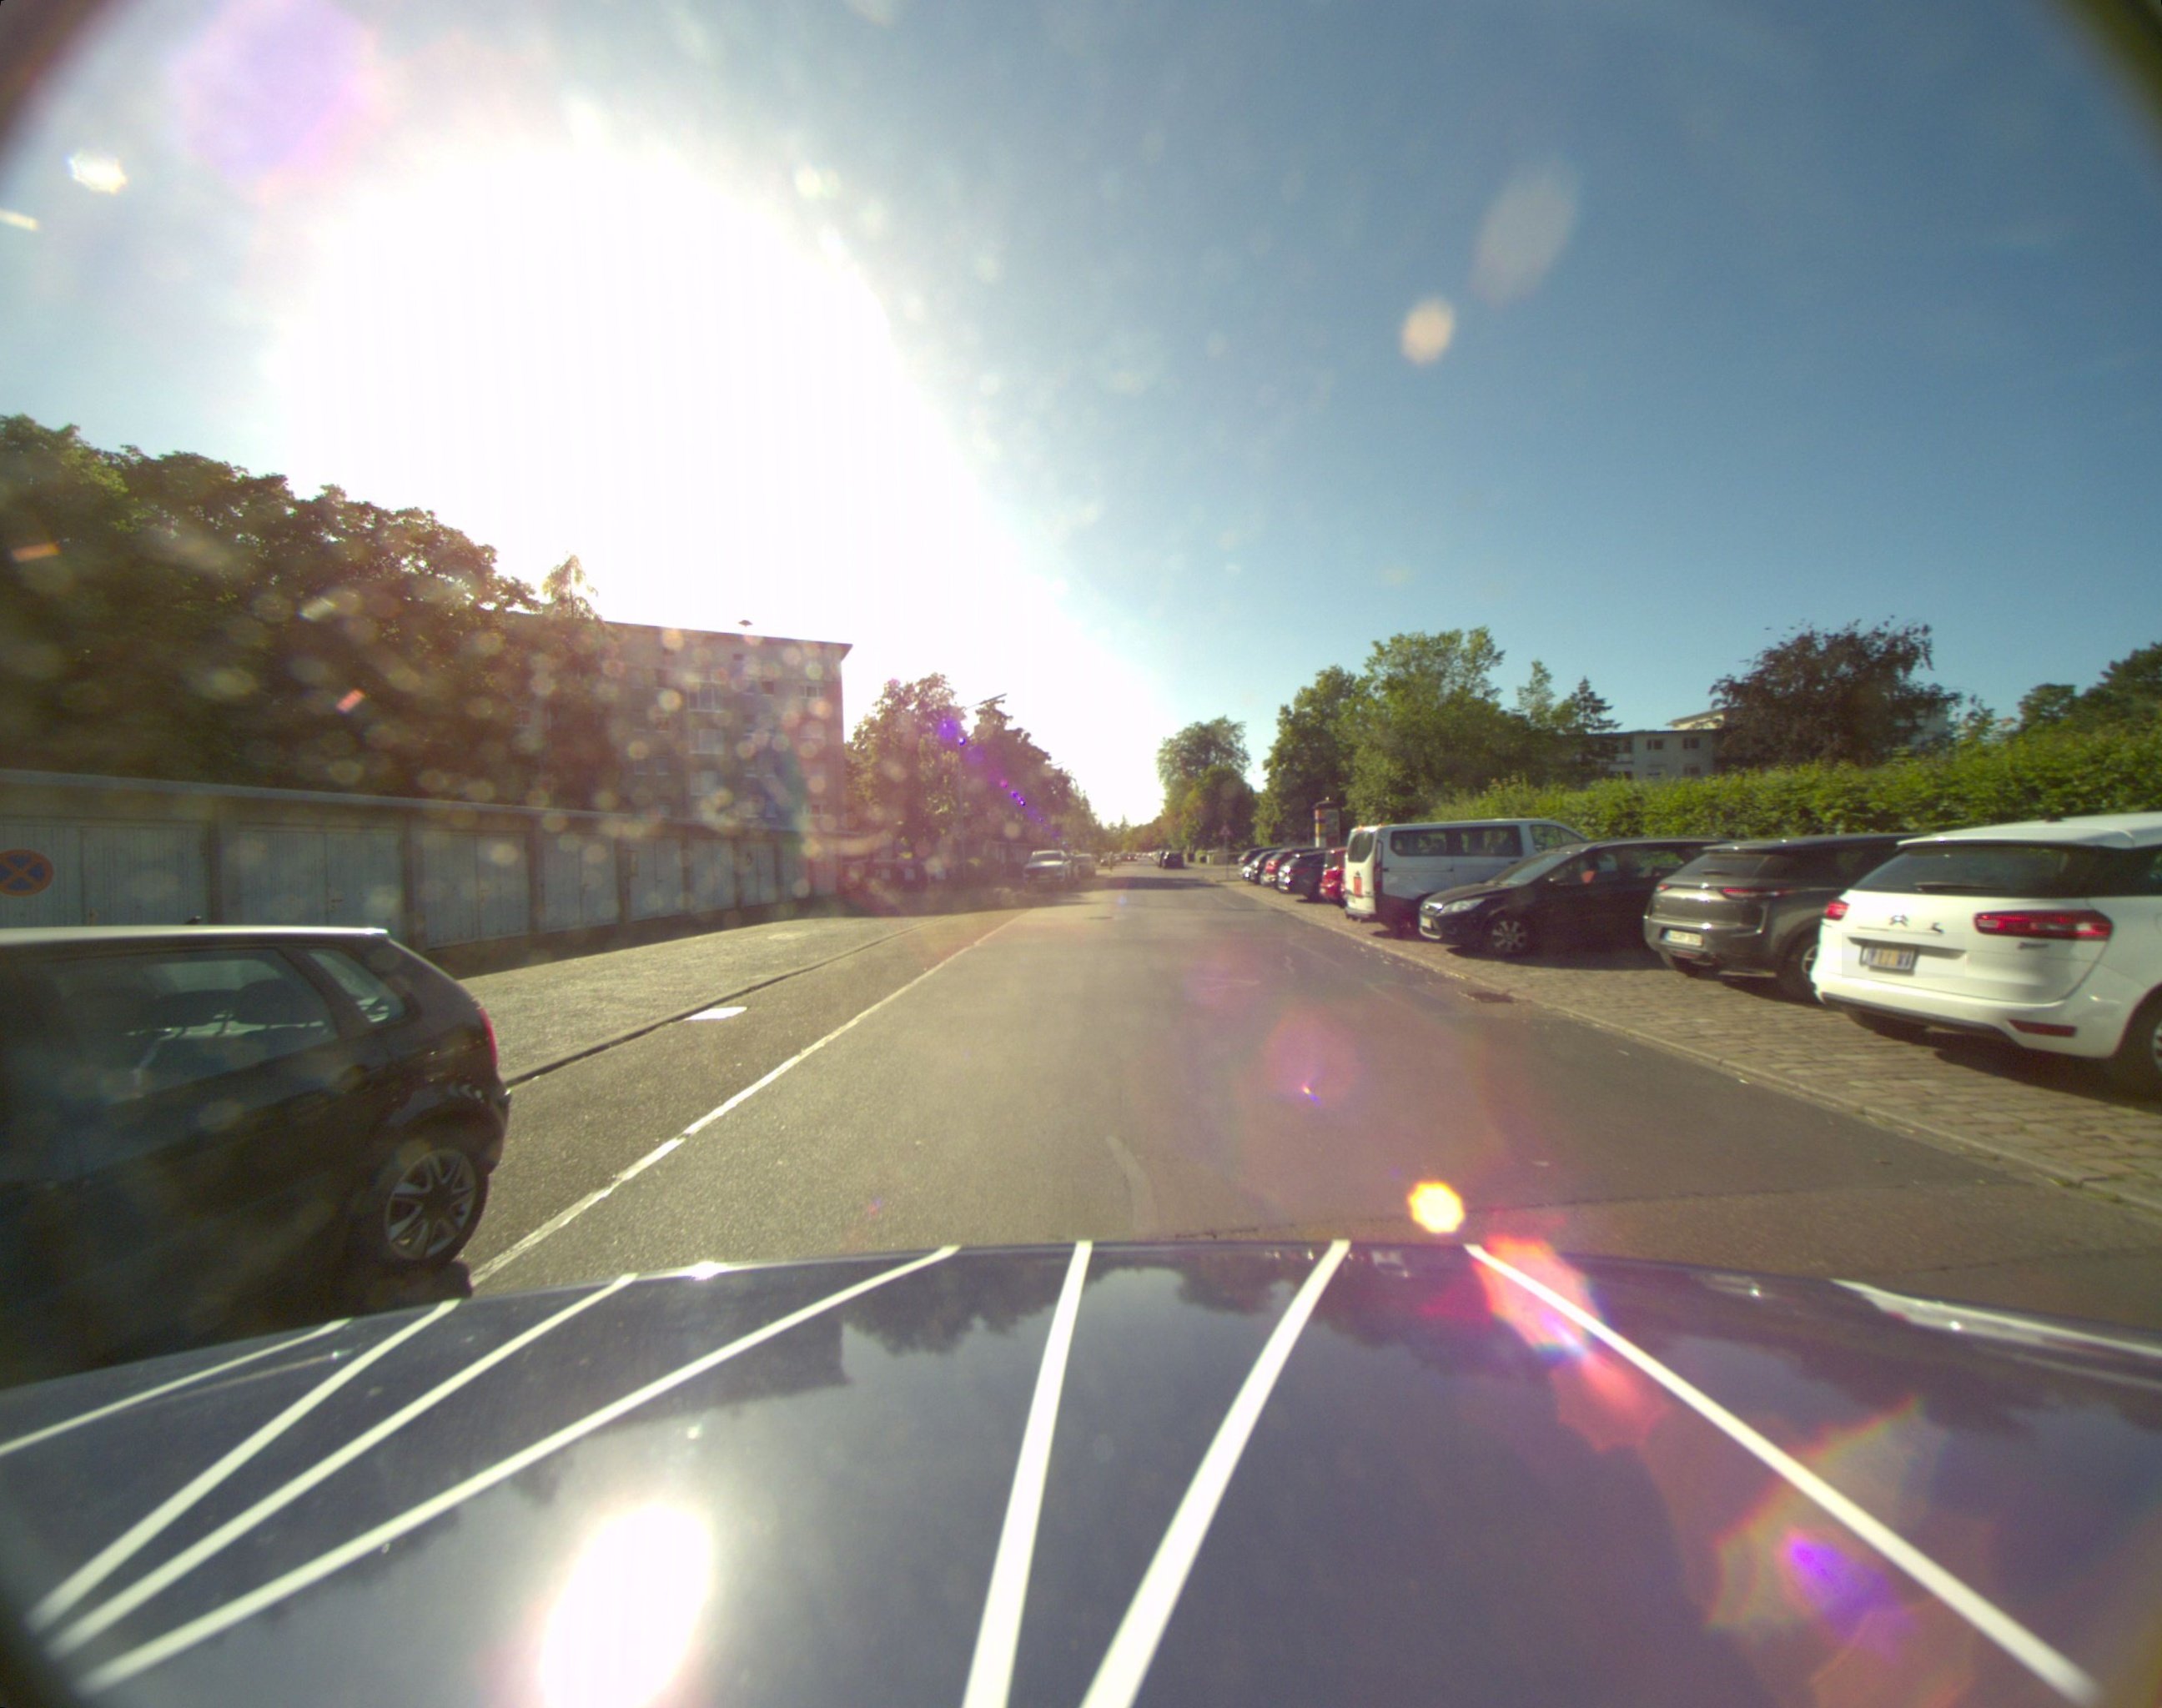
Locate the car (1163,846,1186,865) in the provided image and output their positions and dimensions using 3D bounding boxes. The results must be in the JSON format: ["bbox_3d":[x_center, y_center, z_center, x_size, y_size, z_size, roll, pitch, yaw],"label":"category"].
[{"bbox_3d":[8.459,0.124,69.057,1.784,1.564,4.425,-2,0,4],"label":"car"}]

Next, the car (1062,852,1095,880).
[{"bbox_3d":[-0.100,0.753,50.287,1.808,1.584,4.024,-4,1,4],"label":"car"}]

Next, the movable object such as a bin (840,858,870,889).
[{"bbox_3d":[-11.003,0.950,37.023,1.078,1.409,0.833,-2,2,10],"label":"movable object such as a bin"}]

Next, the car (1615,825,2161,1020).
[{"bbox_3d":[7.921,0.590,7.576,3.776,1.478,1.884,-4,1,4],"label":"car"}]

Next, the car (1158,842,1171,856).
[{"bbox_3d":[11.972,-0.670,108.863,1.732,1.941,3.813,0,1,4],"label":"car"}]

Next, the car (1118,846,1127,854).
[{"bbox_3d":[8.327,-0.828,153.489,1.732,1.586,3.813,-3,0,4],"label":"car"}]

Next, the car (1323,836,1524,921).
[{"bbox_3d":[7.505,0.519,16.962,3.610,1.558,1.852,-4,0,4],"label":"car"}]

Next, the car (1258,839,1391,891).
[{"bbox_3d":[8.361,0.363,26.348,3.996,1.470,1.791,-4,0,4],"label":"car"}]

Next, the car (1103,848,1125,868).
[{"bbox_3d":[2.931,0.317,66.719,1.732,1.586,3.813,-3,0,4],"label":"car"}]

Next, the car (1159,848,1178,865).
[{"bbox_3d":[9.068,0.248,79.196,1.817,1.672,3.649,0,1,4],"label":"car"}]

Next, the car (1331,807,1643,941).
[{"bbox_3d":[7.125,0.325,13.746,4.489,1.966,2.000,-4,1,3],"label":"car"}]

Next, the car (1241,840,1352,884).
[{"bbox_3d":[8.988,0.302,31.940,4.102,1.504,1.812,-4,1,2],"label":"car"}]

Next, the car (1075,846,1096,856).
[{"bbox_3d":[0.721,-0.459,132.171,3.503,1.499,1.602,-4,1,-1],"label":"car"}]

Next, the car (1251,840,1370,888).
[{"bbox_3d":[8.835,0.360,29.539,4.028,1.504,1.906,-4,1,2],"label":"car"}]

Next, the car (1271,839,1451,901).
[{"bbox_3d":[8.081,0.455,22.267,4.554,1.470,1.748,-4,0,4],"label":"car"}]

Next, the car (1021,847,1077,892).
[{"bbox_3d":[-1.394,0.656,35.132,1.911,1.829,5.275,-4,0,3],"label":"car"}]

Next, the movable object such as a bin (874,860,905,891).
[{"bbox_3d":[-8.860,0.985,35.173,1.077,1.340,0.865,-2,2,16],"label":"movable object such as a bin"}]

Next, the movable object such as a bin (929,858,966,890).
[{"bbox_3d":[-5.974,0.879,34.089,1.252,1.340,1.054,-2,2,16],"label":"movable object such as a bin"}]

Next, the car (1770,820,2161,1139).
[{"bbox_3d":[7.383,0.605,4.919,3.996,1.574,1.884,-4,1,4],"label":"car"}]

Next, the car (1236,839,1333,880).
[{"bbox_3d":[9.843,0.241,37.038,4.197,1.647,1.846,-4,1,2],"label":"car"}]

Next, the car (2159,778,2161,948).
[{"bbox_3d":[6.984,0.488,2.237,4.801,1.910,2.081,-4,2,-2],"label":"car"}]

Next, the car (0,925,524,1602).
[{"bbox_3d":[-3.365,1.072,1.447,1.651,1.395,3.881,-1,1,1],"label":"car"}]

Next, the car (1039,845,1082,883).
[{"bbox_3d":[-1.045,0.519,41.171,1.837,1.780,4.556,-4,0,3],"label":"car"}]

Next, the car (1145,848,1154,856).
[{"bbox_3d":[13.206,-0.400,147.170,1.632,1.619,3.557,0,1,4],"label":"car"}]

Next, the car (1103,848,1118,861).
[{"bbox_3d":[3.722,0.025,96.342,1.732,1.462,3.813,-3,0,4],"label":"car"}]

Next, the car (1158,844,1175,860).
[{"bbox_3d":[10.464,-0.241,92.987,1.909,1.930,4.512,0,1,5],"label":"car"}]

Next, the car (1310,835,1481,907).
[{"bbox_3d":[8.025,0.422,19.685,3.610,1.558,1.882,-4,0,4],"label":"car"}]

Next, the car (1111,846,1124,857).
[{"bbox_3d":[5.677,-0.376,118.194,1.732,1.586,3.813,-3,0,4],"label":"car"}]

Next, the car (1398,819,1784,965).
[{"bbox_3d":[7.056,0.506,10.967,4.159,1.696,1.884,-4,1,8],"label":"car"}]

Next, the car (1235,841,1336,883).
[{"bbox_3d":[9.081,0.327,33.976,3.996,1.524,1.832,-4,1,2],"label":"car"}]

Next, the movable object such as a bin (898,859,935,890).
[{"bbox_3d":[-7.500,0.934,34.695,1.252,1.340,1.054,-2,2,16],"label":"movable object such as a bin"}]
